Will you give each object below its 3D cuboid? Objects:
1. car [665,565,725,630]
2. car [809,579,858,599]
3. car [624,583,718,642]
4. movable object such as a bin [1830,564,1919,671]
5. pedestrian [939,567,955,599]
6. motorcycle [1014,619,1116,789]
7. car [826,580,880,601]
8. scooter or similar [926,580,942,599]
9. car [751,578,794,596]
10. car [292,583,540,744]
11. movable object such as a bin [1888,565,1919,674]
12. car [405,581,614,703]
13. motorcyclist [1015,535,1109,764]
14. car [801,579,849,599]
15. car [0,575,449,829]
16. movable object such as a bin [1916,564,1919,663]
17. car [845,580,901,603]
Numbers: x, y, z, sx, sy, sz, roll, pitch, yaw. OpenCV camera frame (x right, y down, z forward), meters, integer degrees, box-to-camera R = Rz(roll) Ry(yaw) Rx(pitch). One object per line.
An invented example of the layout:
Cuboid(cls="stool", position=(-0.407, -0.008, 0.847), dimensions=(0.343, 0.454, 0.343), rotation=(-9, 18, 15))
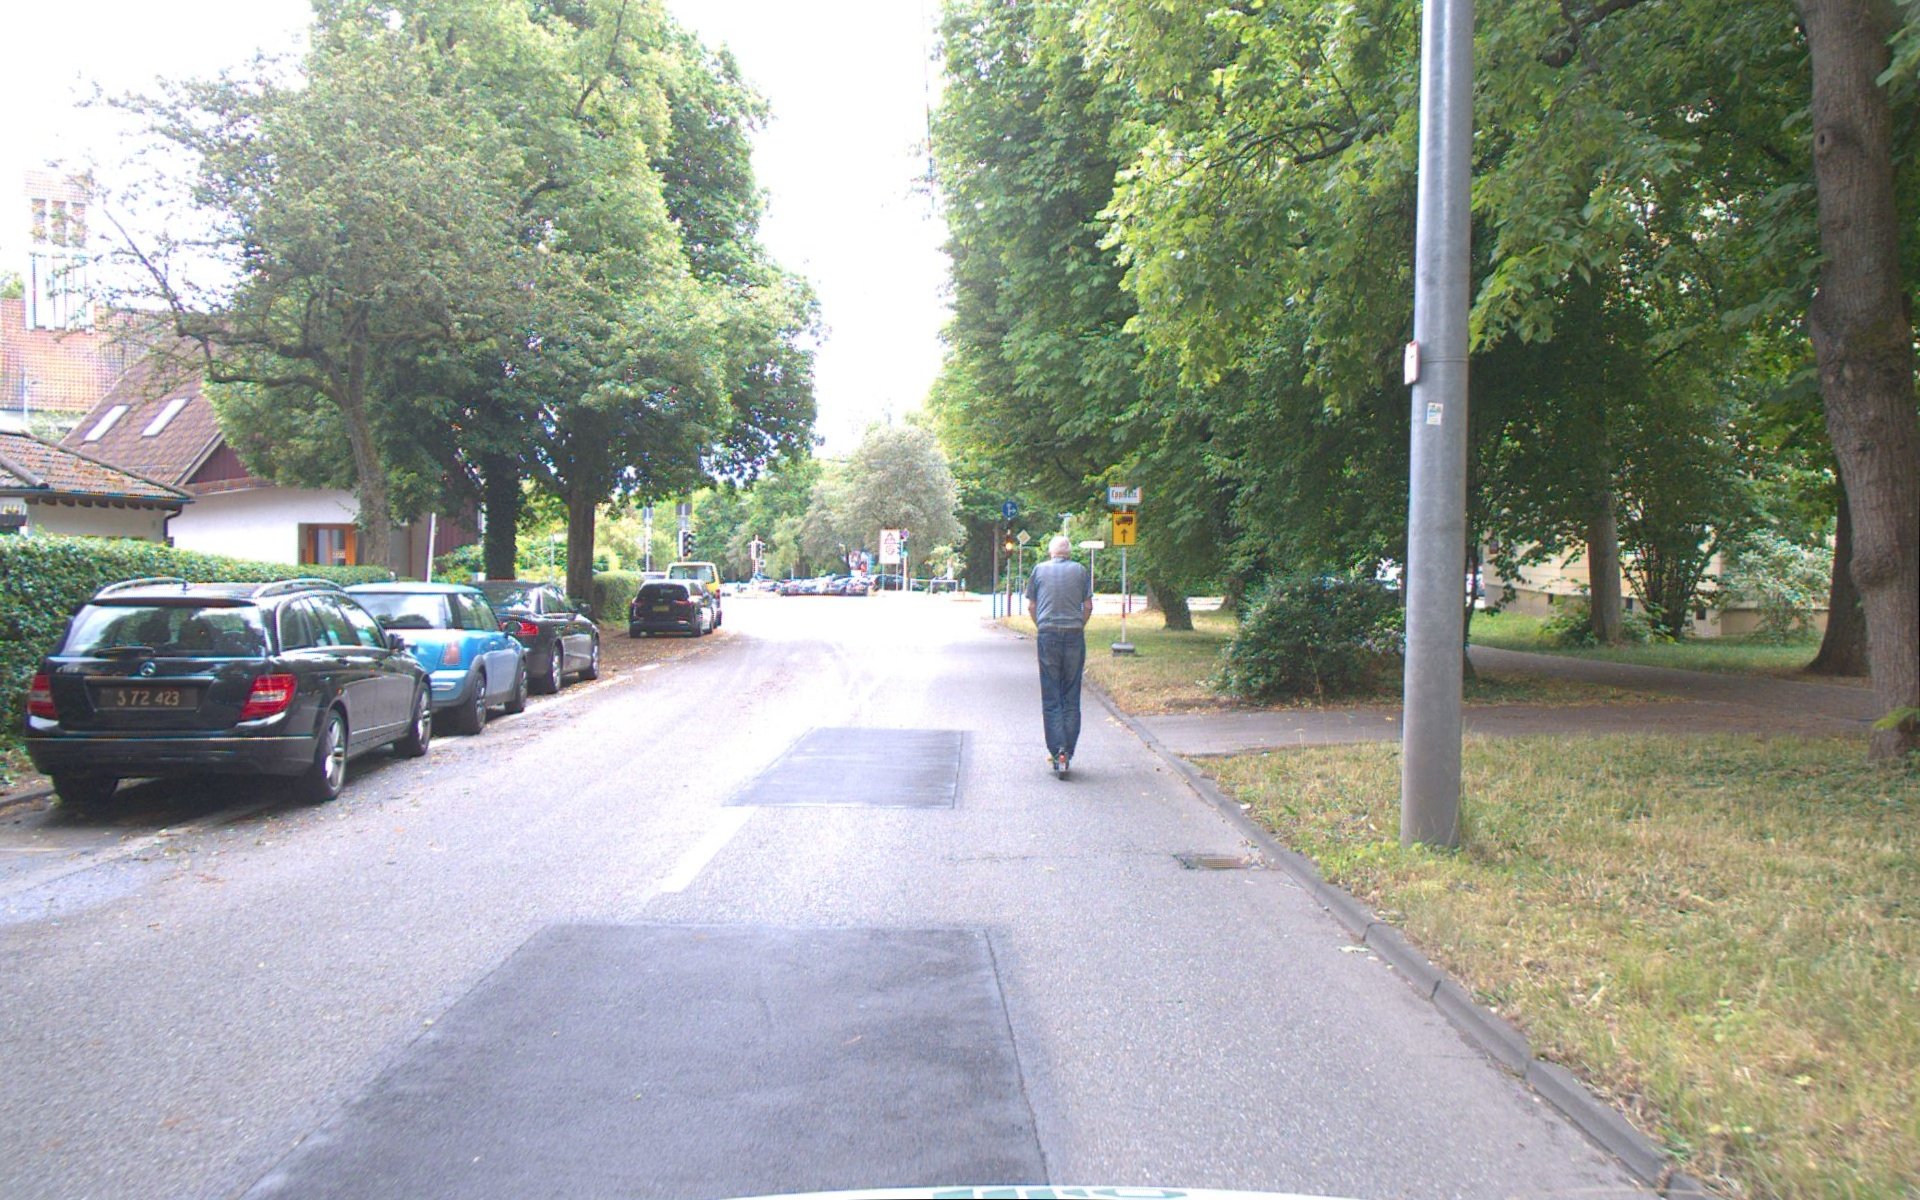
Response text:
Cuboid(cls="car", position=(-8.587, -0.094, 53.699), dimensions=(1.823, 1.998, 4.495), rotation=(-1, 0, -9))
Cuboid(cls="car", position=(-10.305, -0.904, 134.558), dimensions=(3.910, 1.536, 1.798), rotation=(-1, 1, -7))
Cuboid(cls="car", position=(-7.411, 0.286, 42.785), dimensions=(1.854, 1.435, 4.551), rotation=(-1, 0, -3))
Cuboid(cls="movable object such as a bin", position=(13.982, 0.234, 24.650), dimensions=(1.301, 1.527, 1.313), rotation=(-1, 1, -6))
Cuboid(cls="pedestrian", position=(-0.694, -0.931, 91.340), dimensions=(0.716, 1.792, 0.662), rotation=(0, 0, 15))
Cuboid(cls="motorcycle", position=(0.818, 0.798, 13.198), dimensions=(0.659, 1.238, 1.273), rotation=(1, 1, -2))
Cuboid(cls="car", position=(-8.026, -0.721, 123.983), dimensions=(3.910, 1.536, 1.798), rotation=(-1, 1, -7))
Cuboid(cls="scooter or similar", position=(-1.423, -0.575, 91.534), dimensions=(0.695, 1.067, 0.788), rotation=(0, 0, 15))
Cuboid(cls="car", position=(-17.046, -1.190, 150.430), dimensions=(3.910, 1.536, 1.798), rotation=(-1, 1, -7))
Cuboid(cls="car", position=(-5.424, 0.558, 16.937), dimensions=(1.632, 1.416, 3.702), rotation=(-1, 1, -6))
Cuboid(cls="movable object such as a bin", position=(14.116, 0.268, 23.309), dimensions=(1.301, 1.527, 1.313), rotation=(-1, 1, -6))
Cuboid(cls="car", position=(-5.972, 0.486, 22.476), dimensions=(1.758, 1.435, 4.643), rotation=(-1, 1, -3))
Cuboid(cls="motorcyclist", position=(0.818, 0.387, 13.390), dimensions=(0.659, 1.792, 0.638), rotation=(1, 1, -3))
Cuboid(cls="car", position=(-11.147, -0.921, 136.399), dimensions=(3.910, 1.536, 1.798), rotation=(-1, 1, -7))
Cuboid(cls="car", position=(-5.135, 0.579, 12.208), dimensions=(1.760, 1.498, 4.413), rotation=(-1, 1, -6))
Cuboid(cls="movable object such as a bin", position=(15.398, 0.207, 24.820), dimensions=(1.301, 1.527, 1.313), rotation=(-1, 1, -6))
Cuboid(cls="car", position=(-6.174, -0.624, 117.264), dimensions=(3.910, 1.536, 1.798), rotation=(-1, 1, -7))
